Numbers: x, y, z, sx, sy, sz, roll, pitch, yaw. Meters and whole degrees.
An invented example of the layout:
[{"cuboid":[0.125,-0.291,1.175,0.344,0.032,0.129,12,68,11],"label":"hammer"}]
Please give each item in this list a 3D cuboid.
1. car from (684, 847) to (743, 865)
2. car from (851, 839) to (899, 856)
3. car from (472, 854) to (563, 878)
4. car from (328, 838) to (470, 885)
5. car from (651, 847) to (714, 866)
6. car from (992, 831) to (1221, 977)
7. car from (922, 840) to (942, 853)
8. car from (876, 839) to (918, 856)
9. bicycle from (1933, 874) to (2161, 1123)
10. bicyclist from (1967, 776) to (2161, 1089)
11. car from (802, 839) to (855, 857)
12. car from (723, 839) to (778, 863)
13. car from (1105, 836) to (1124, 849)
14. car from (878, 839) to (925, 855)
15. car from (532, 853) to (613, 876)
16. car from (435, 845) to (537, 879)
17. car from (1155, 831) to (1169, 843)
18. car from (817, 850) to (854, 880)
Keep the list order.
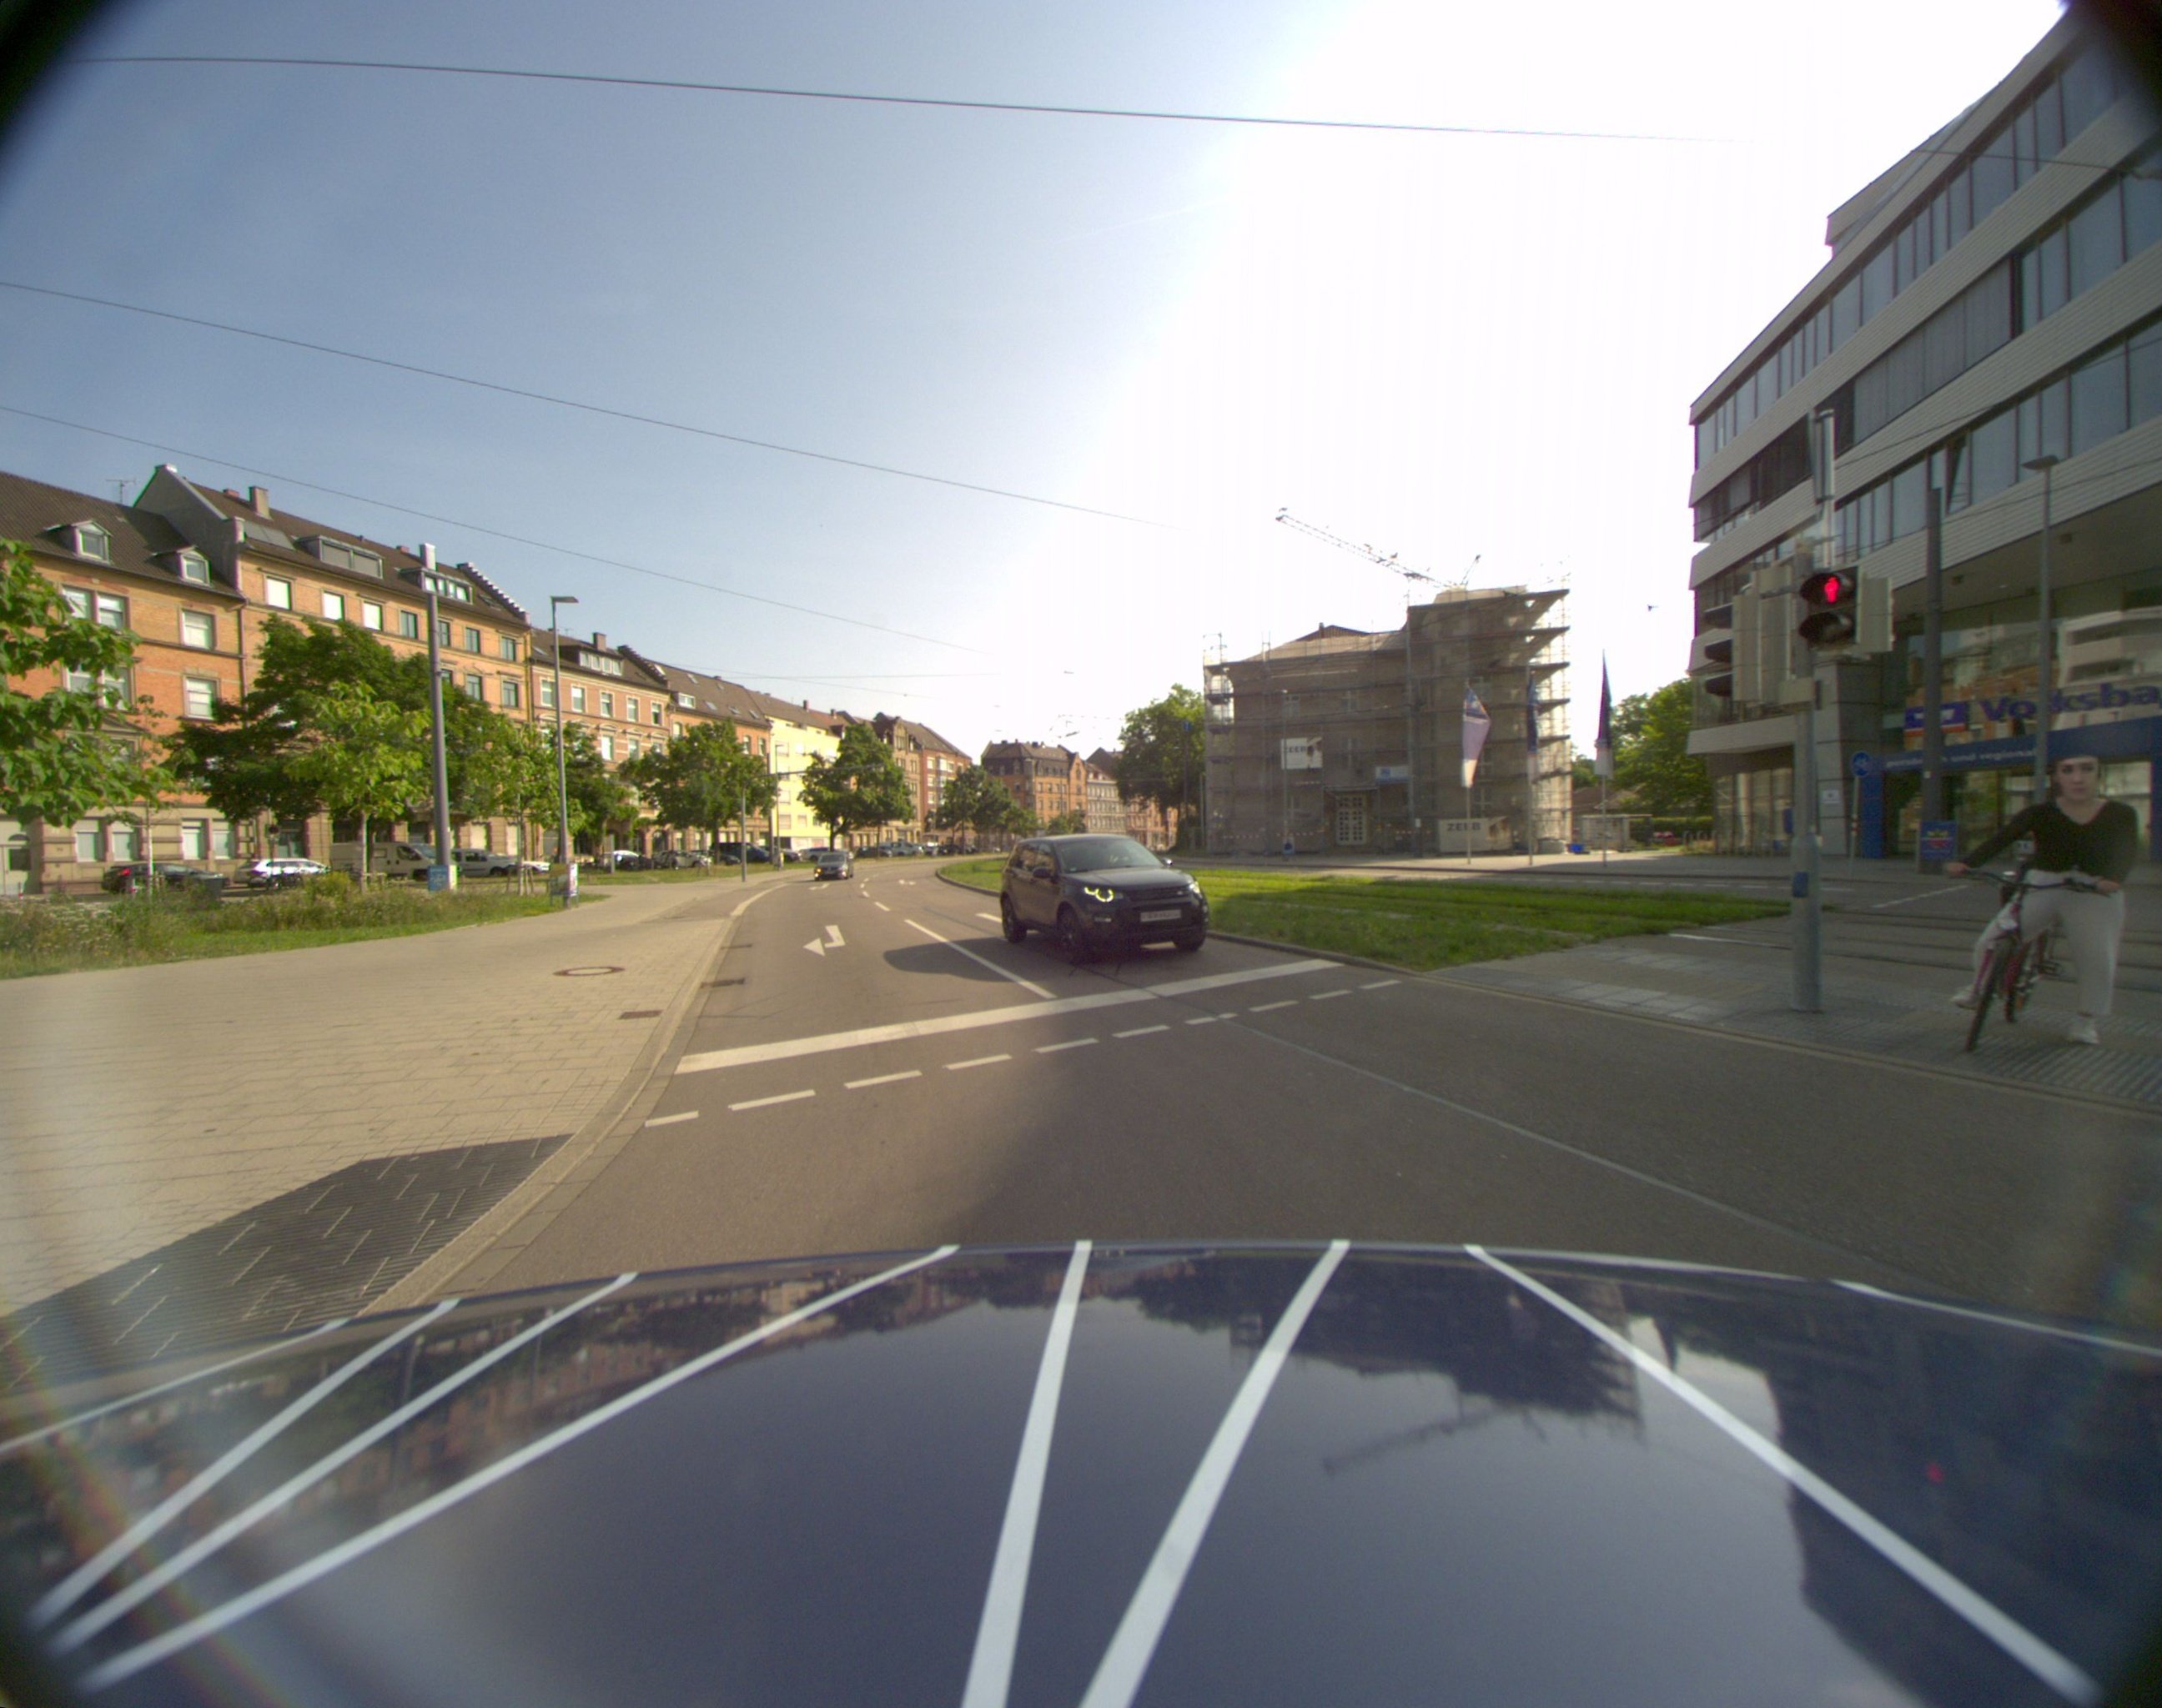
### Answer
[{"cuboid":[-28.471,0.139,58.989,3.859,1.242,1.719,-2,1,-18],"label":"car"},{"cuboid":[-21.815,-0.663,80.573,4.740,1.755,1.720,-1,1,-11],"label":"car"},{"cuboid":[-32.817,0.680,44.361,3.859,1.242,1.719,-2,1,-18],"label":"car"},{"cuboid":[-34.722,0.346,38.810,5.048,2.166,1.878,-2,2,-11],"label":"car"},{"cuboid":[-29.538,0.188,56.477,3.859,1.242,1.719,-2,1,-18],"label":"car"},{"cuboid":[0.131,0.550,11.086,1.805,1.668,4.213,-1,1,-21],"label":"car"},{"cuboid":[-21.588,-1.121,110.196,1.327,1.722,2.789,-1,1,27],"label":"car"},{"cuboid":[-20.495,-0.741,84.669,4.423,1.755,1.718,-1,1,-19],"label":"car"},{"cuboid":[5.821,0.741,4.511,1.807,1.092,0.668,-4,3,-30],"label":"bicycle"},{"cuboid":[5.892,0.412,4.537,0.638,1.693,0.668,-4,3,-30],"label":"bicyclist"},{"cuboid":[-24.715,-0.580,74.484,4.740,1.755,1.720,-1,1,-11],"label":"car"},{"cuboid":[-27.056,-0.247,62.364,3.858,1.795,1.783,-2,1,-16],"label":"car"},{"cuboid":[5.309,-1.839,119.274,1.996,2.002,4.004,-1,1,17],"label":"car"},{"cuboid":[-20.645,-0.854,87.421,4.932,1.827,1.718,-1,1,-23],"label":"car"},{"cuboid":[-31.529,0.608,47.224,3.859,1.242,1.719,-2,1,-18],"label":"car"},{"cuboid":[-32.853,0.394,42.097,3.987,1.697,1.877,-2,1,-18],"label":"car"},{"cuboid":[15.582,-3.270,145.661,1.996,1.968,4.002,-2,2,14],"label":"car"},{"cuboid":[-12.900,0.543,40.106,1.645,1.411,3.889,-2,2,-16],"label":"car"}]
